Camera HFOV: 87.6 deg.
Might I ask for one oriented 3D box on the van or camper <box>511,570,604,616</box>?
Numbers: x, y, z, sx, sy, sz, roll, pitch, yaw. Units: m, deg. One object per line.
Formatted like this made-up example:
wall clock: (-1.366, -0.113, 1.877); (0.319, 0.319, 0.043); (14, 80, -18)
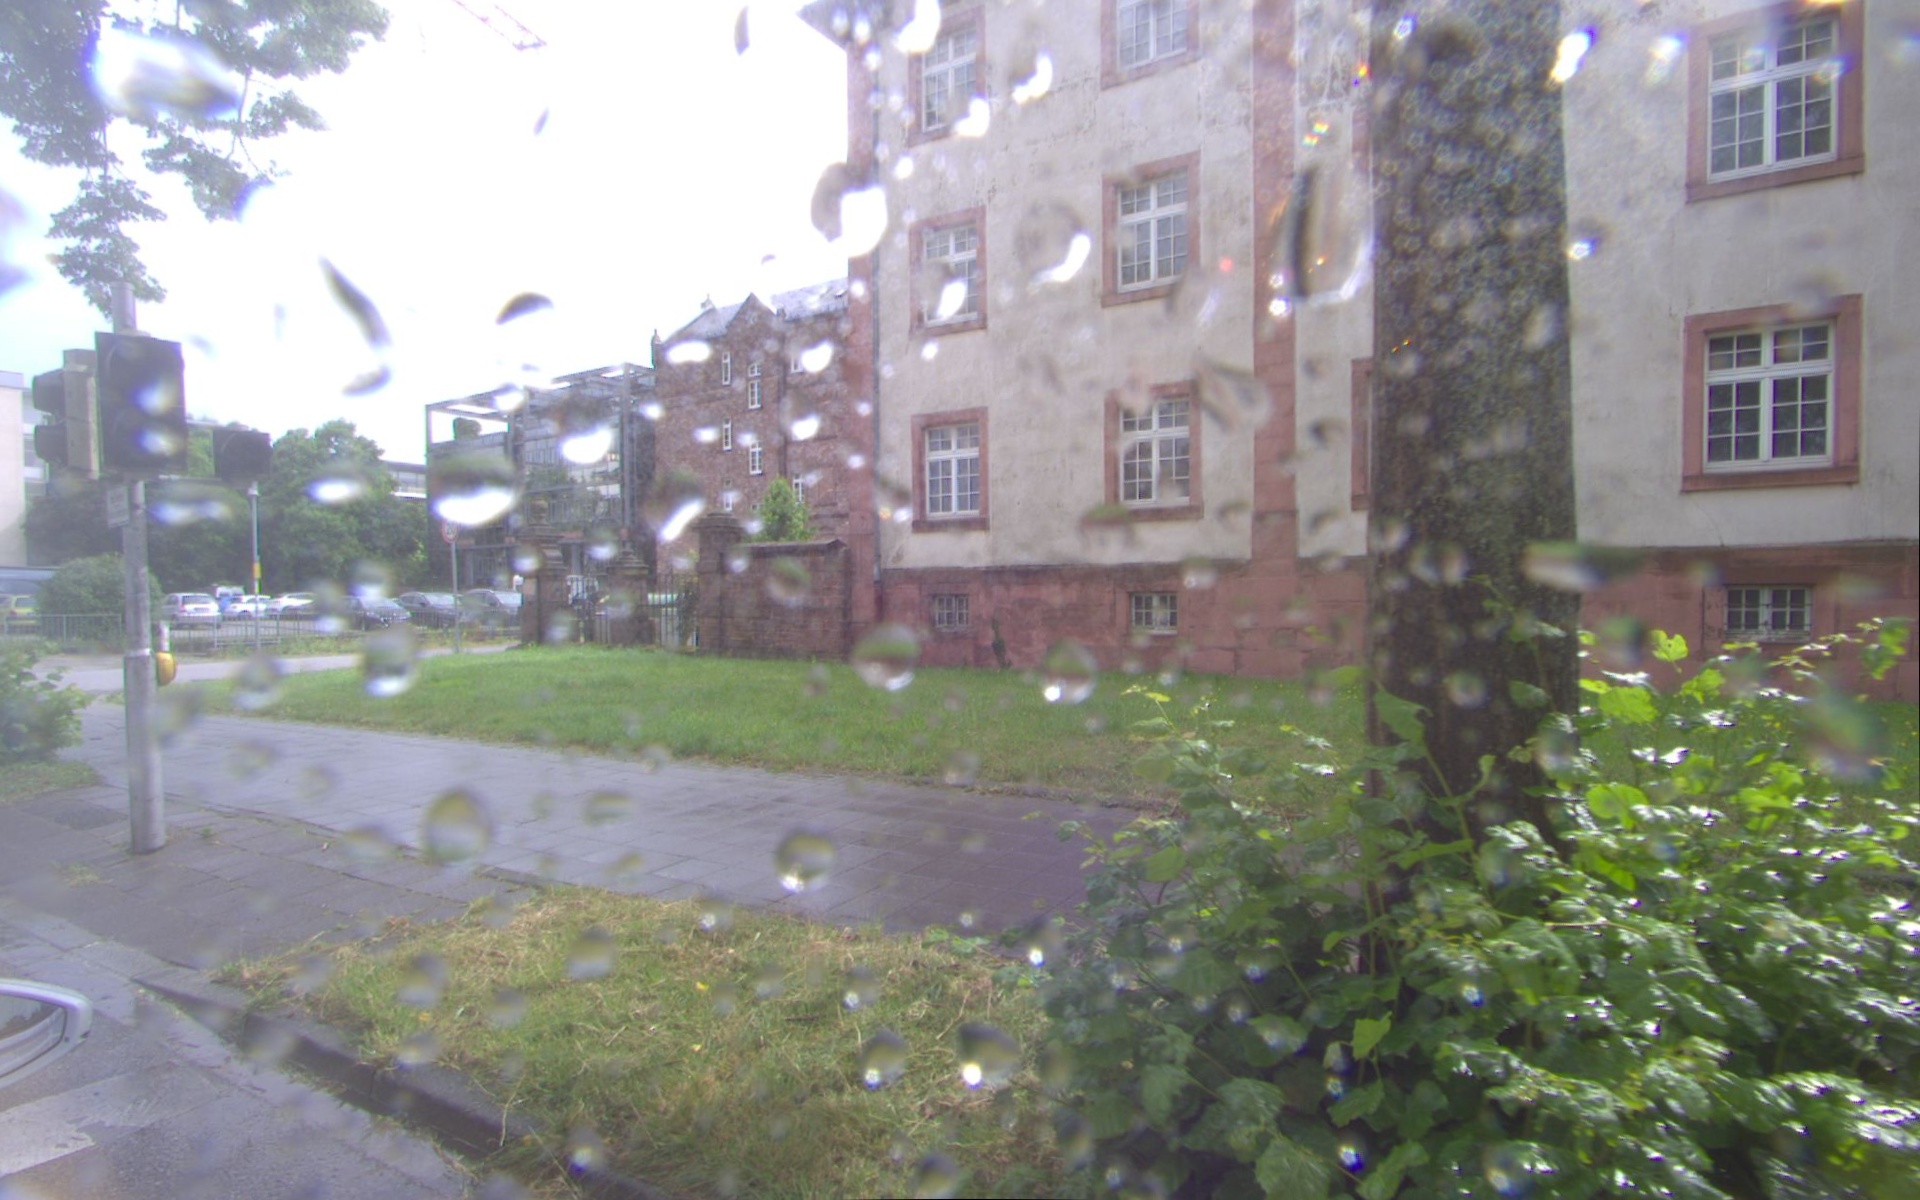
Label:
van or camper: (-23.940, -0.354, 59.789); (2.226, 2.518, 4.778); (-1, -2, 32)

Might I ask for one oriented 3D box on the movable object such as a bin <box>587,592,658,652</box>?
movable object such as a bin: (-8.689, 0.540, 25.792); (1.371, 1.477, 1.103); (1, 3, 34)

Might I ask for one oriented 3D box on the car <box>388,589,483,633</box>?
car: (-21.702, 0.408, 41.361); (4.368, 1.702, 1.845); (0, 1, 39)

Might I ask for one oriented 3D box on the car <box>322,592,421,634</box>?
car: (-22.870, 0.473, 38.860); (4.366, 1.547, 1.822); (0, 1, 38)

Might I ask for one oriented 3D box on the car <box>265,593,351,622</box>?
car: (-36.038, 0.392, 55.443); (1.617, 1.506, 3.654); (0, 1, 36)

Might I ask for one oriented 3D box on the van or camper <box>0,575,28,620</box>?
van or camper: (-47.621, -0.130, 47.407); (2.291, 2.160, 4.743); (1, 1, 36)

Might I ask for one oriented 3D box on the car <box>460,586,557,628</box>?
car: (-19.601, 0.283, 43.421); (4.363, 1.702, 1.847); (0, 1, 35)

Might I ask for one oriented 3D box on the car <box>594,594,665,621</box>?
car: (-19.065, 0.463, 57.854); (1.649, 1.506, 3.658); (0, -1, 34)

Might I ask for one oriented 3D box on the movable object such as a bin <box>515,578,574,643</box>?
movable object such as a bin: (-9.819, 0.233, 23.668); (1.081, 1.477, 0.797); (1, 3, 34)

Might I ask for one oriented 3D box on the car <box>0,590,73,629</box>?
car: (-36.363, 0.356, 39.262); (3.370, 1.468, 1.606); (0, 1, 34)

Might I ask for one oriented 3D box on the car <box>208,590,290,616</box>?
car: (-42.293, 0.165, 59.654); (1.617, 1.506, 3.654); (0, 1, 36)

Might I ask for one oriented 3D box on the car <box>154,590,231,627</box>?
car: (-33.235, 0.358, 43.340); (3.668, 1.506, 1.643); (0, 1, 36)

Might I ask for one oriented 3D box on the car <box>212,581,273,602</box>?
car: (-50.851, -0.627, 70.979); (1.489, 1.416, 3.214); (0, 1, 36)

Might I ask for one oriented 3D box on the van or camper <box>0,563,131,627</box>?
van or camper: (-38.689, -0.172, 42.507); (2.145, 2.588, 4.986); (-1, 0, 34)

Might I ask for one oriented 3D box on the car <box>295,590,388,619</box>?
car: (-33.694, 0.215, 54.662); (1.649, 1.485, 3.962); (0, 1, 34)

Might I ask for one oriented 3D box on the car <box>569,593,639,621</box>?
car: (-21.026, 0.384, 59.286); (1.649, 1.598, 3.656); (0, 1, 34)

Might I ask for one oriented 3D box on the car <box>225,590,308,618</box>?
car: (-40.427, 0.222, 58.447); (1.617, 1.506, 3.654); (0, 1, 36)
